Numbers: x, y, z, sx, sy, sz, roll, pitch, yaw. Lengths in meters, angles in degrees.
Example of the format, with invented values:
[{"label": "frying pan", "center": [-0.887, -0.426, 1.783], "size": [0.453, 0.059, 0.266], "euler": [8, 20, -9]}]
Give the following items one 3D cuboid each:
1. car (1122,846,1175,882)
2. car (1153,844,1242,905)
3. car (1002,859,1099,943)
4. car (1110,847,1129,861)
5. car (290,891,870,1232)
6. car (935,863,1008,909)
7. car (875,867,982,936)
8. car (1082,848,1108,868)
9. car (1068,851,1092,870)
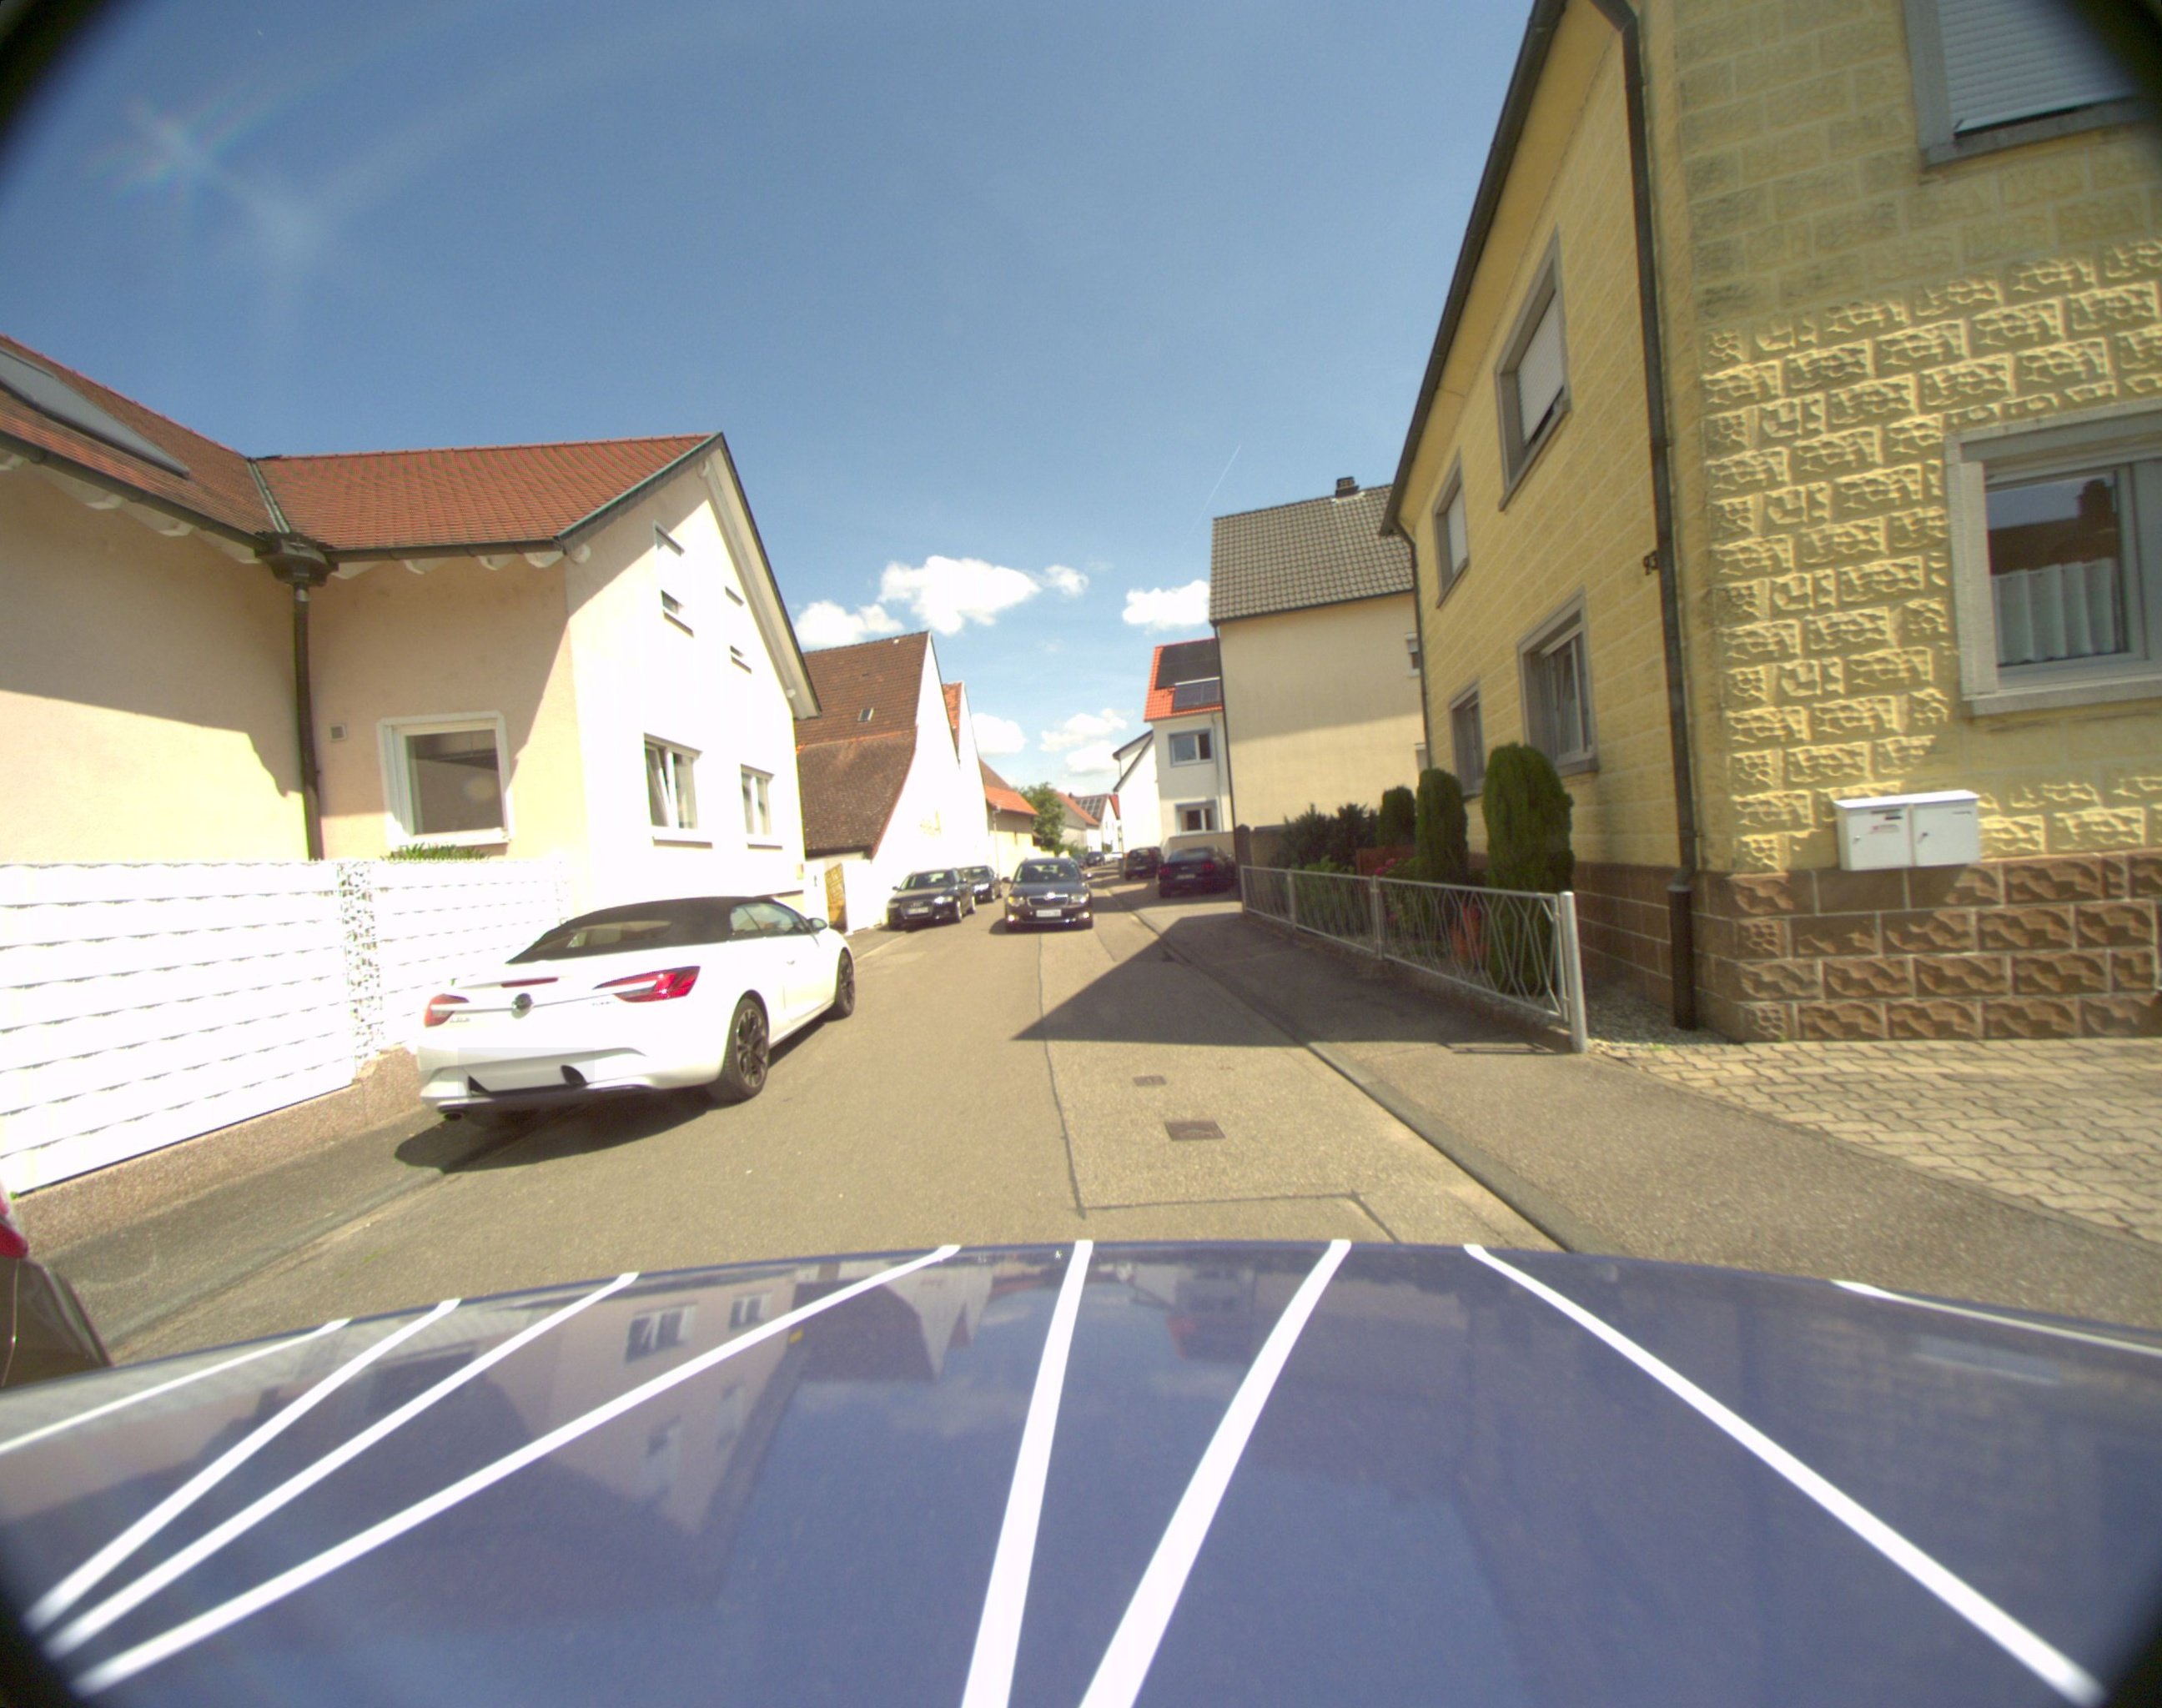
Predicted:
[{"label": "car", "center": [3.273, 0.437, 36.194], "size": [1.640, 1.446, 3.790], "euler": [-6, 0, 16]}, {"label": "car", "center": [3.569, 0.531, 22.528], "size": [1.772, 1.342, 4.474], "euler": [-6, 1, 18]}, {"label": "car", "center": [-0.749, 0.900, 16.437], "size": [1.786, 1.526, 4.708], "euler": [-1, -1, -5]}, {"label": "car", "center": [4.915, -0.005, 95.761], "size": [1.784, 1.492, 4.041], "euler": [-7, 0, 10]}, {"label": "car", "center": [-3.353, 1.233, 6.495], "size": [1.901, 1.420, 4.735], "euler": [-5, 1, -3]}, {"label": "car", "center": [-4.036, 1.141, 28.728], "size": [1.900, 1.357, 4.414], "euler": [-5, 1, 1]}, {"label": "car", "center": [-3.970, 1.184, 20.666], "size": [1.900, 1.357, 4.736], "euler": [-5, 1, -1]}, {"label": "car", "center": [1.449, 0.396, 75.649], "size": [1.784, 1.600, 4.002], "euler": [-7, 0, 10]}, {"label": "car", "center": [-0.038, 0.526, 66.681], "size": [1.784, 1.471, 4.000], "euler": [-4, 1, 3]}]
